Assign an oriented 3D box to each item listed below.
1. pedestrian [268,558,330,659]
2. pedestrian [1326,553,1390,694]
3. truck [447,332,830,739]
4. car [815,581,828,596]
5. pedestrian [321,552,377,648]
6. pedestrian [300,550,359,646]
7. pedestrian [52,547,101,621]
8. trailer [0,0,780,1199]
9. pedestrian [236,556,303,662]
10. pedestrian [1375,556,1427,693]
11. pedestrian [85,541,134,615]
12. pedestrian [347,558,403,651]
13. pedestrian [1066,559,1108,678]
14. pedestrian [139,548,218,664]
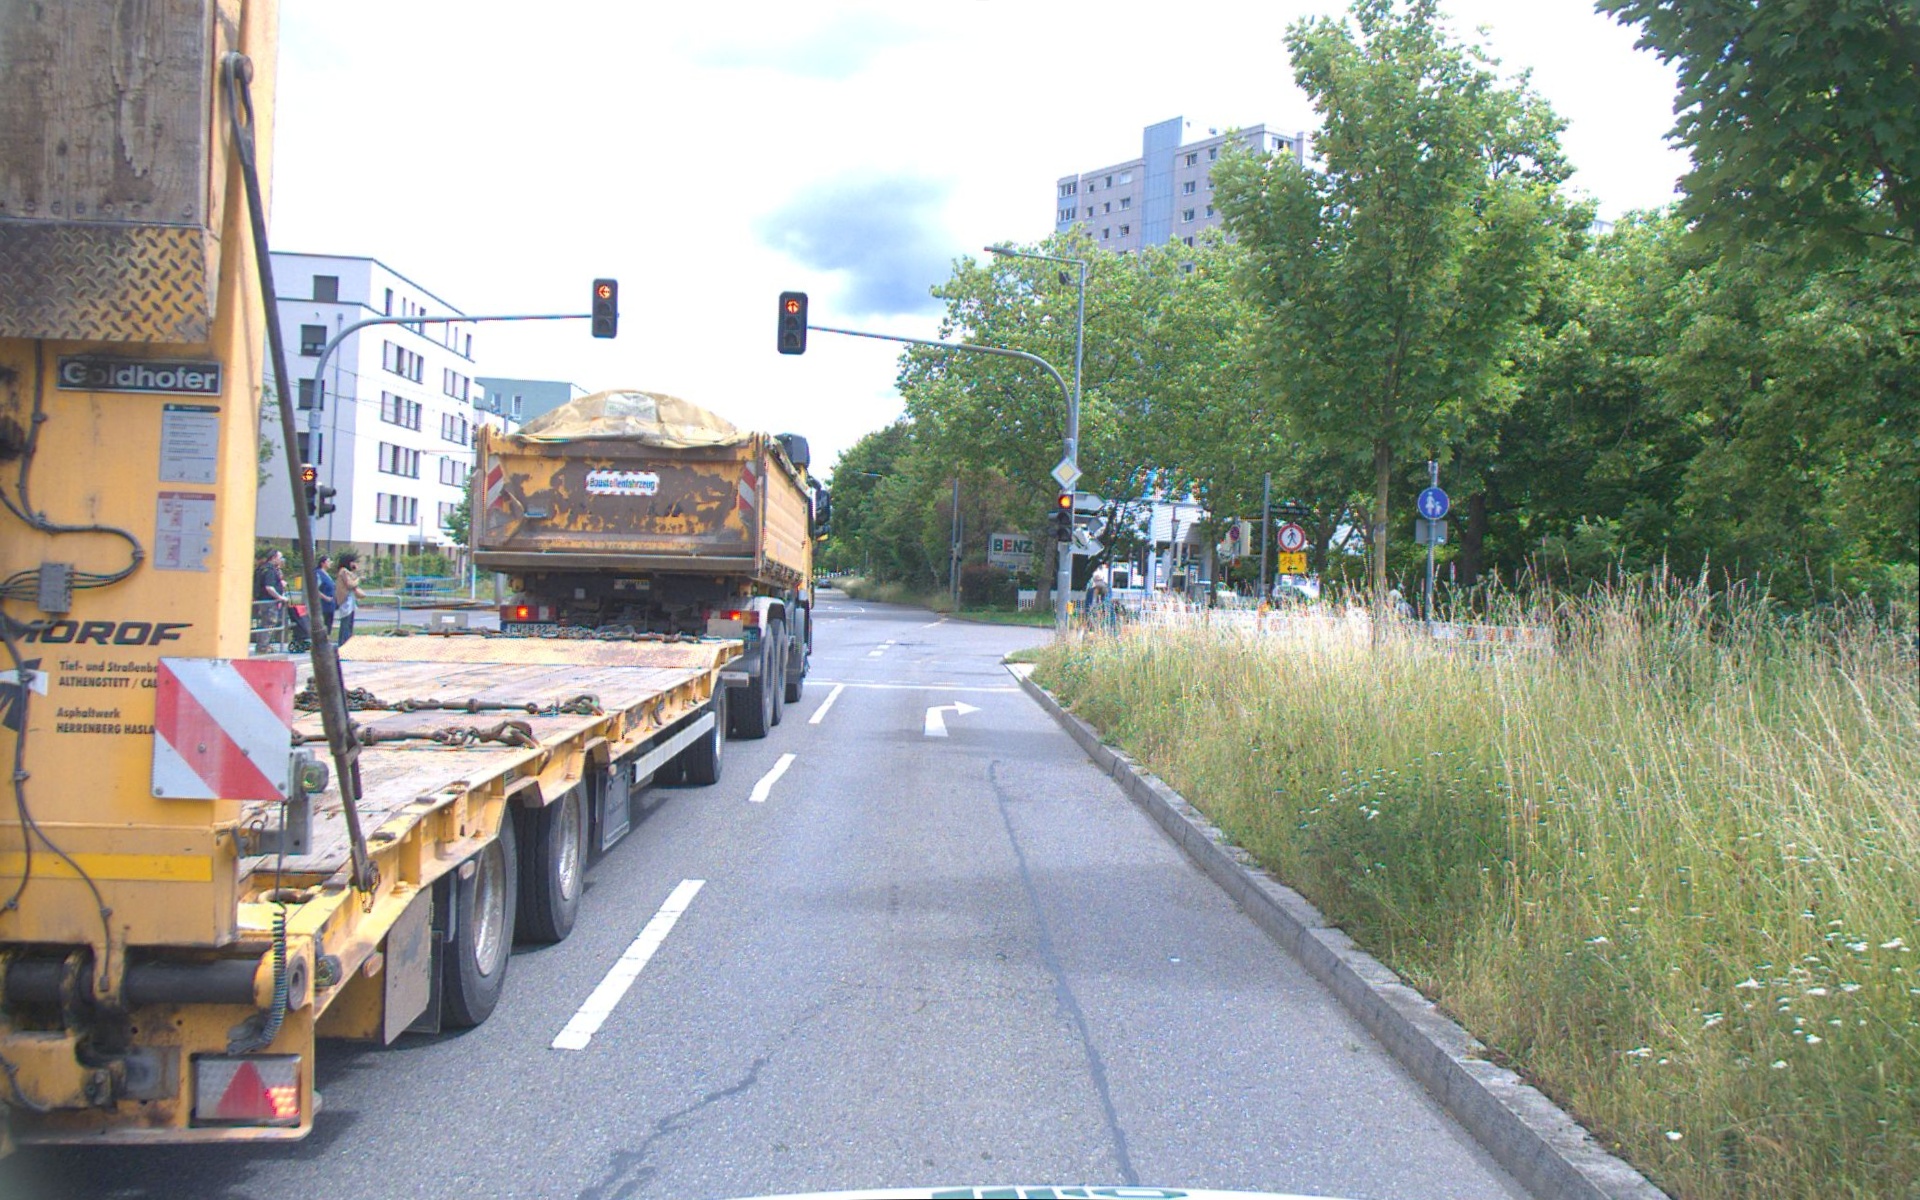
[{"bbox_3d":[-10.971,0.133,27.471,0.668,1.630,0.822,2,0,-2],"label":"pedestrian"},{"bbox_3d":[5.917,0.343,24.583,0.659,2.049,0.633,2,-1,-11],"label":"pedestrian"},{"bbox_3d":[-3.076,-0.577,18.335,2.698,3.371,8.349,2,0,-2],"label":"truck"},{"bbox_3d":[-19.278,-1.651,230.578,1.657,1.959,3.995,2,0,-6],"label":"car"},{"bbox_3d":[-11.067,-0.006,29.985,0.668,1.699,0.822,2,0,-2],"label":"pedestrian"},{"bbox_3d":[-10.988,-0.035,28.855,0.668,1.630,0.822,2,0,-2],"label":"pedestrian"},{"bbox_3d":[-26.480,-0.485,49.584,0.897,2.171,0.935,2,0,-2],"label":"pedestrian"},{"bbox_3d":[-2.817,-0.609,8.536,2.674,3.620,11.250,2,0,-1],"label":"trailer"},{"bbox_3d":[-10.961,0.141,26.280,0.668,1.630,0.822,2,0,-2],"label":"pedestrian"},{"bbox_3d":[6.696,0.372,25.126,0.551,2.049,0.490,2,-1,-11],"label":"pedestrian"},{"bbox_3d":[-25.435,-0.658,49.468,0.897,2.171,0.935,2,0,-2],"label":"pedestrian"},{"bbox_3d":[-10.979,0.074,31.058,0.818,1.699,0.936,2,0,-13],"label":"pedestrian"},{"bbox_3d":[2.221,0.324,28.879,0.551,2.049,0.490,2,-1,-11],"label":"pedestrian"},{"bbox_3d":[-11.867,0.089,25.142,0.803,1.697,0.683,2,0,-1],"label":"pedestrian"}]
